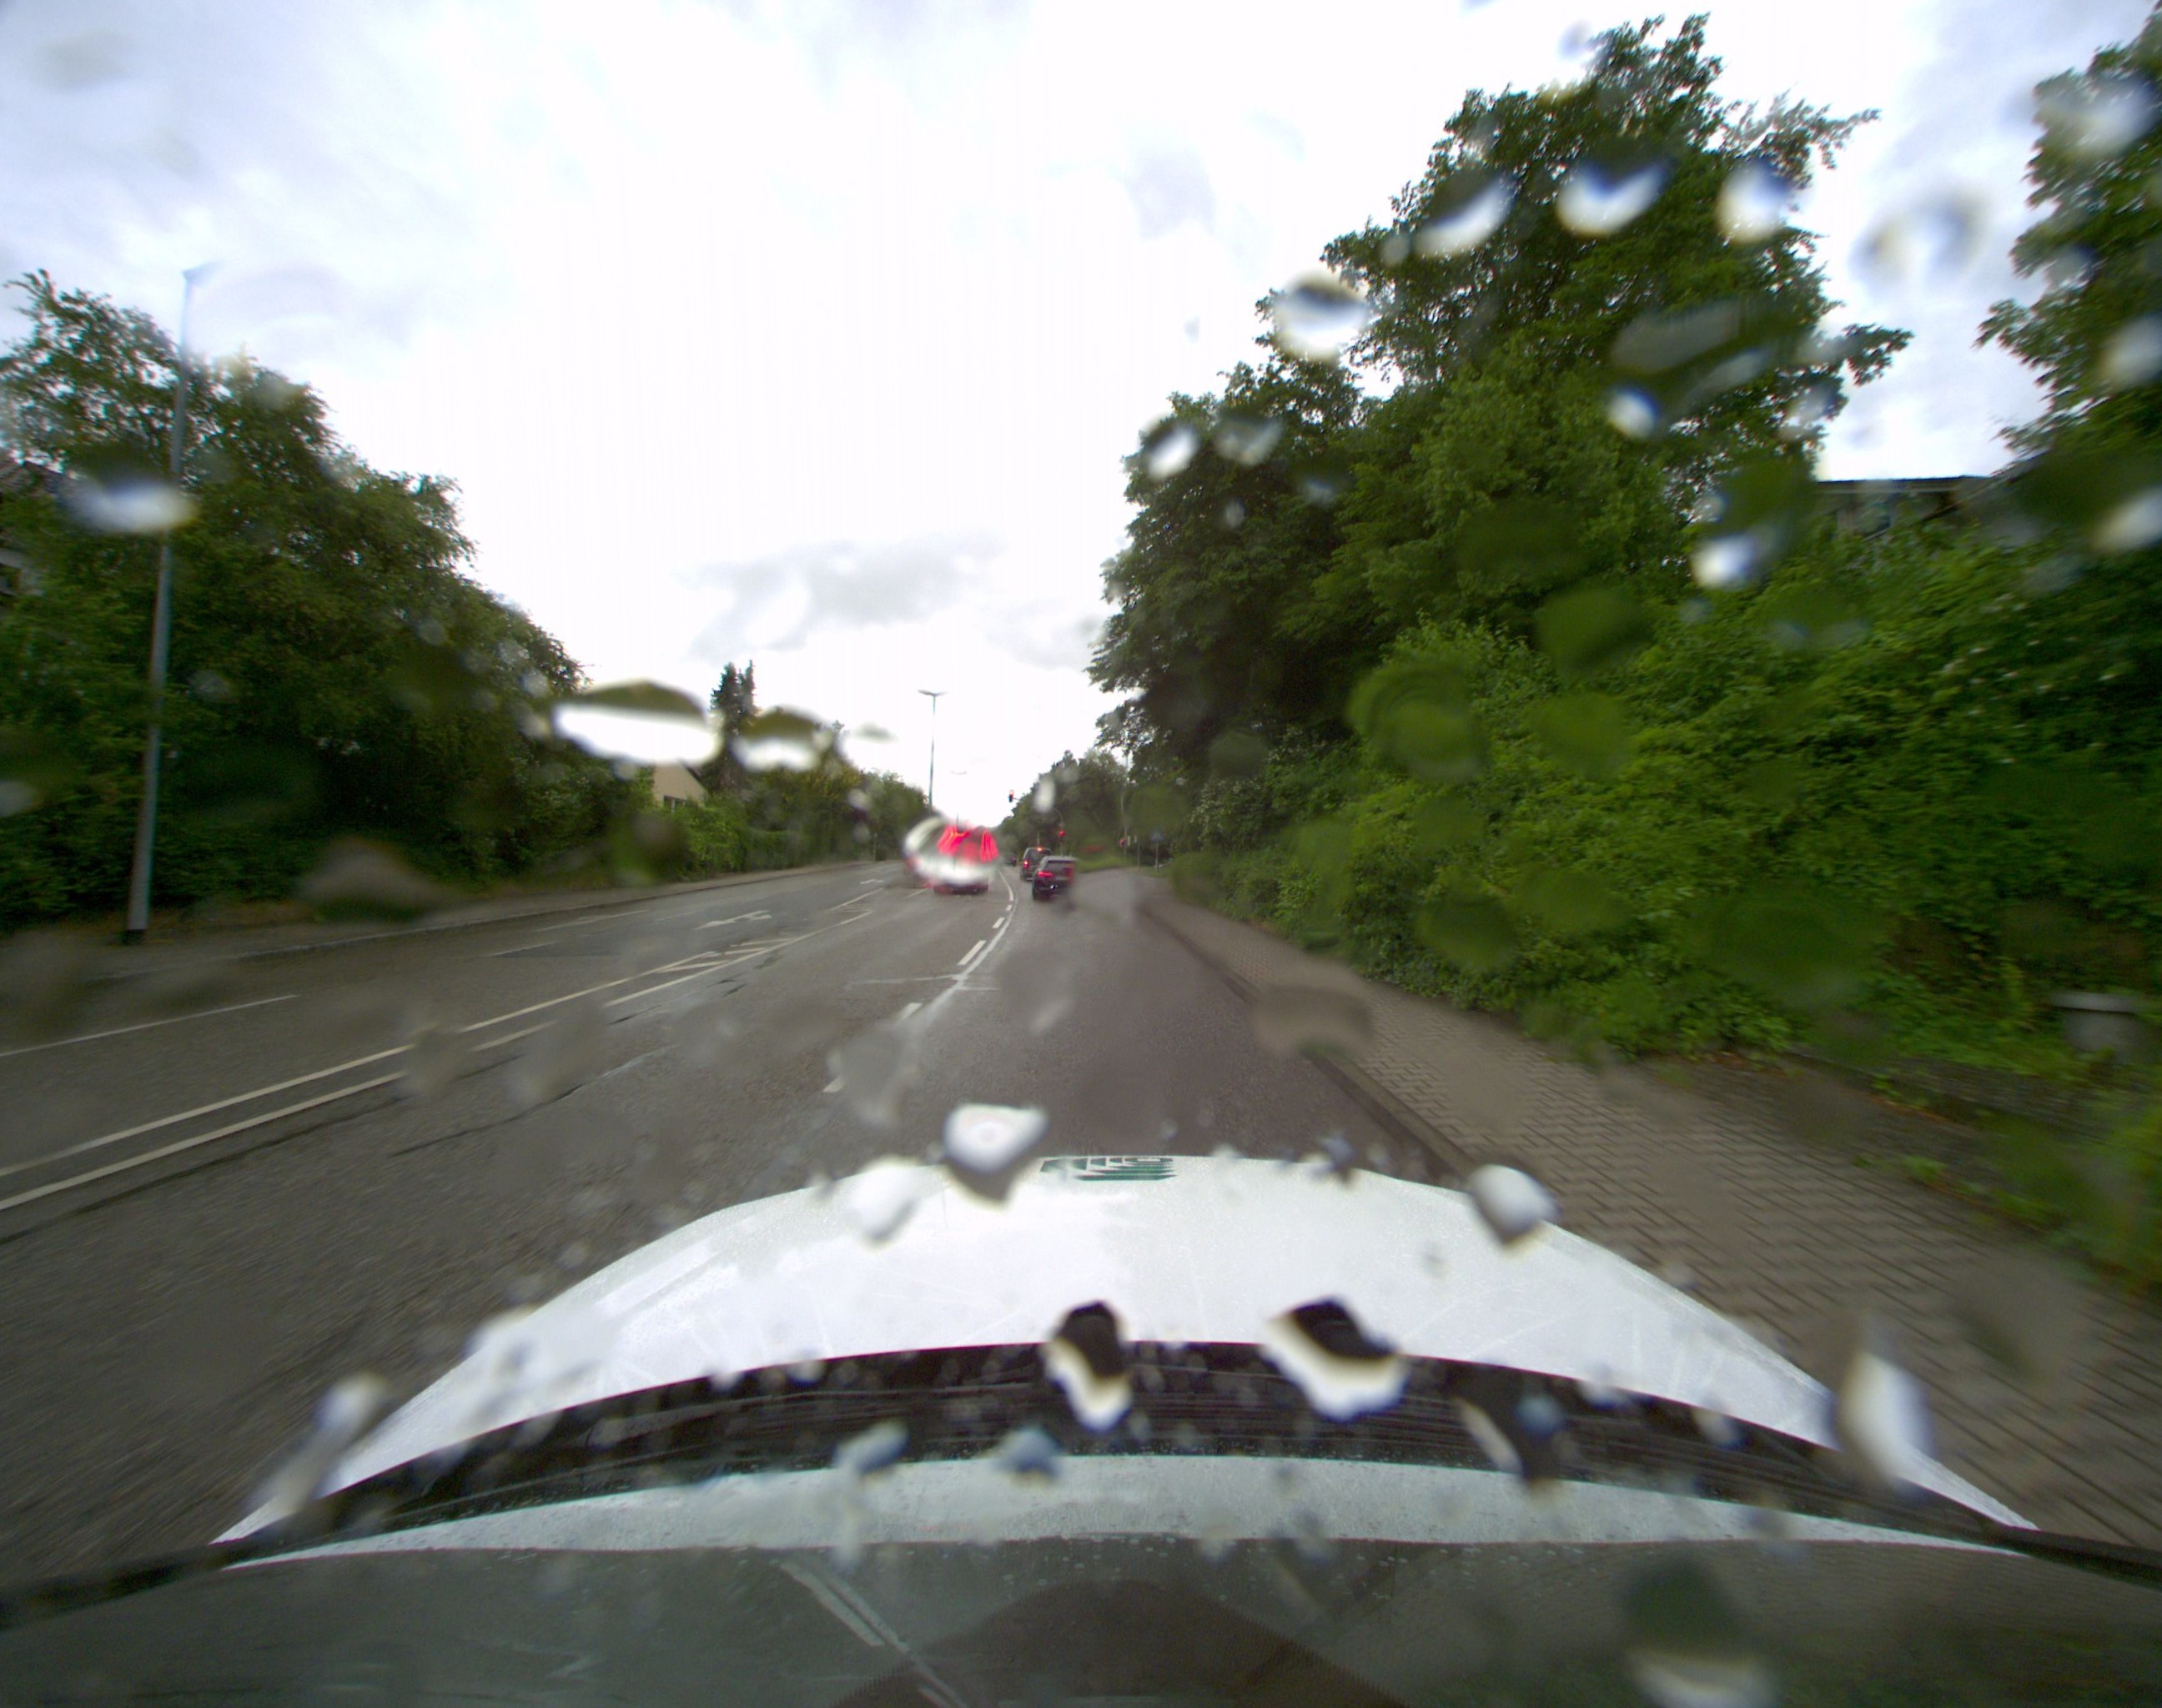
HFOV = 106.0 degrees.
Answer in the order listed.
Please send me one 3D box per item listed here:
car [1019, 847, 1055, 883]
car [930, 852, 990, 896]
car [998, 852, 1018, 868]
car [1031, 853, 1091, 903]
[{"bbox_3d":[-2.519,0.611,45.721,1.815,1.868,3.944,2,-1,-6],"label":"car"},{"bbox_3d":[-4.529,0.713,31.026,1.991,1.527,4.319,0,0,-6],"label":"car"},{"bbox_3d":[-7.860,0.663,87.171,1.992,1.624,3.942,0,0,-8],"label":"car"},{"bbox_3d":[-0.739,0.829,28.744,1.893,1.551,4.610,2,-1,-2],"label":"car"}]
